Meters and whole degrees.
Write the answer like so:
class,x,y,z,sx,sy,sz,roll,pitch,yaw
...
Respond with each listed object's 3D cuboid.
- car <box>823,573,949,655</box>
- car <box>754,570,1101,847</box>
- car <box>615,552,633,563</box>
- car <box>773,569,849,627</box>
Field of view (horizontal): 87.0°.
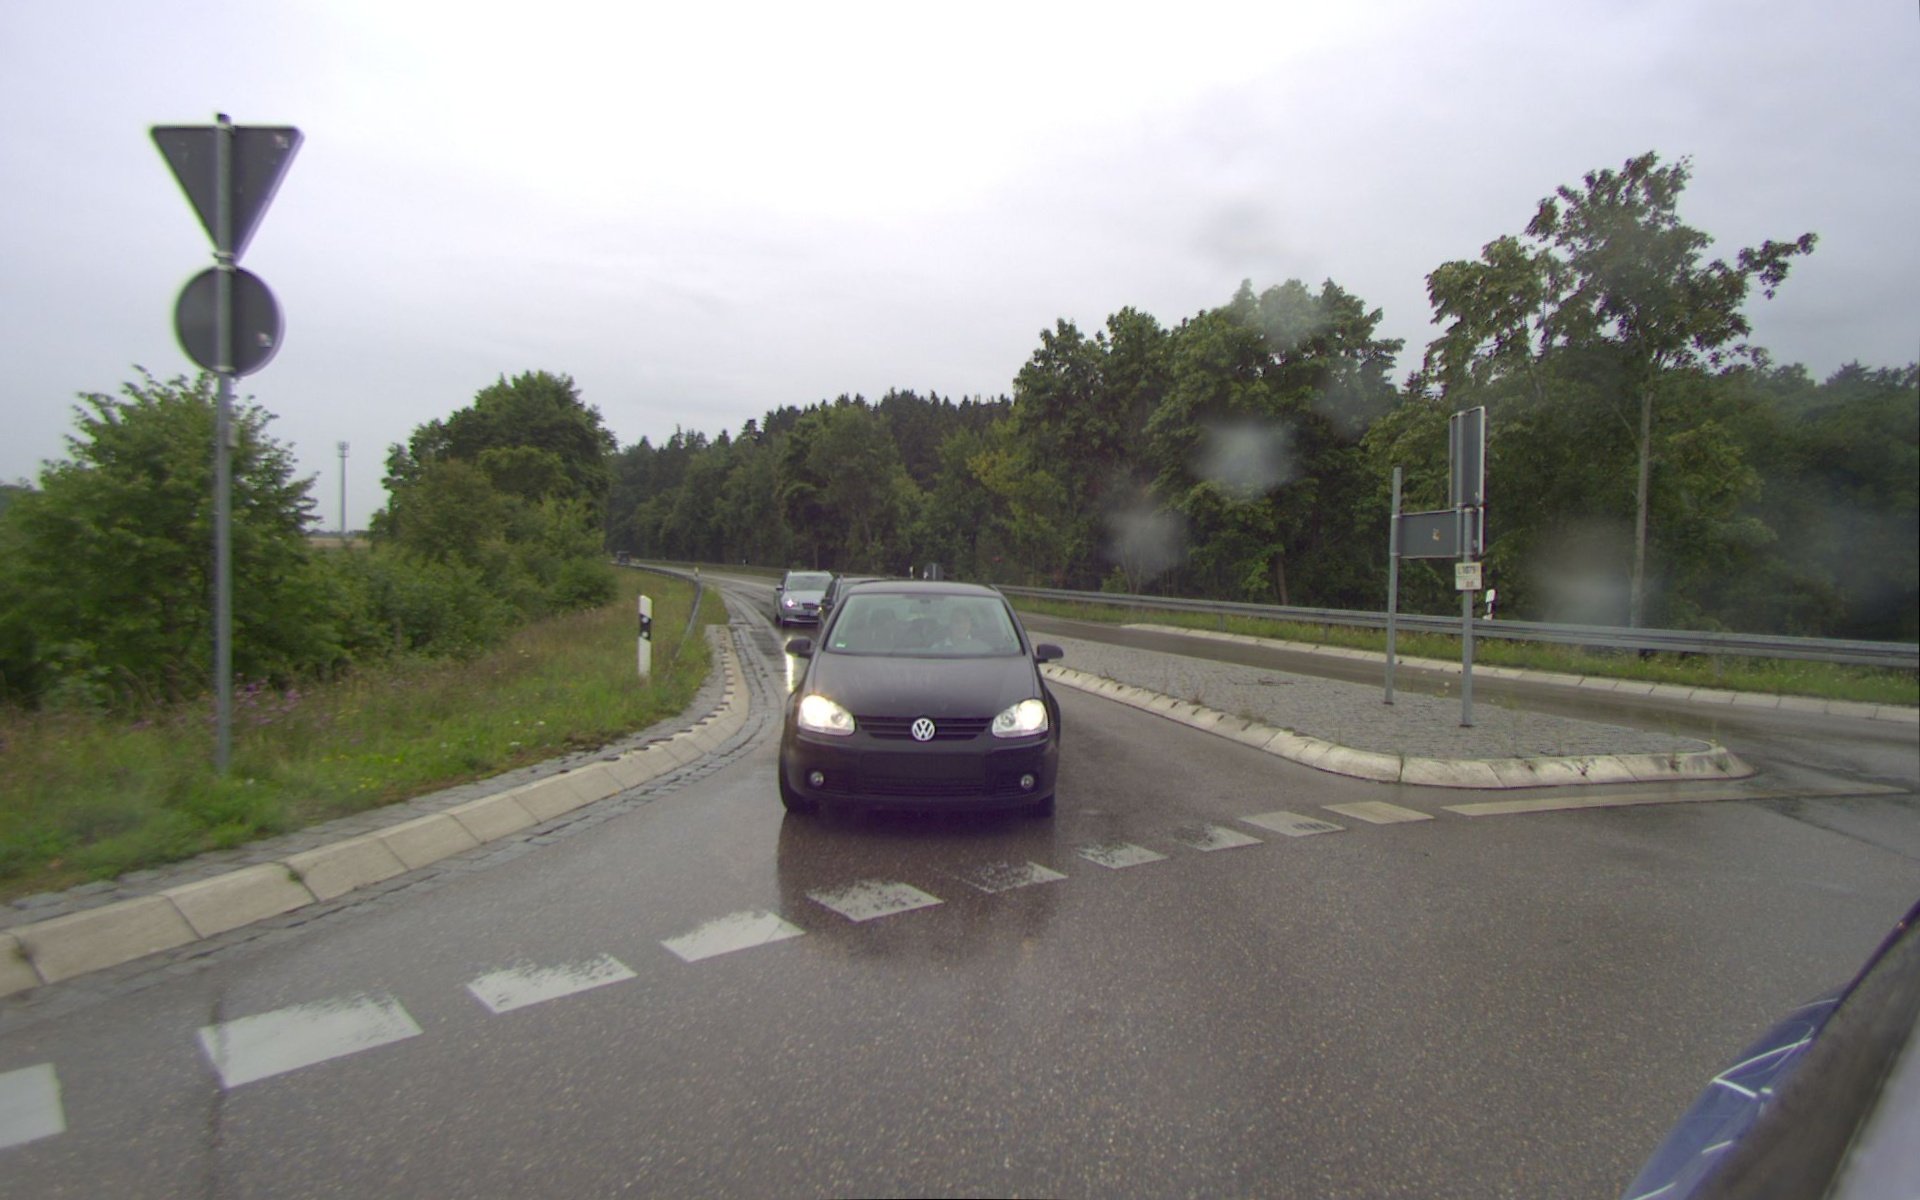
class,x,y,z,sx,sy,sz,roll,pitch,yaw
car,-1.563,0.208,19.694,1.909,1.388,4.512,1,1,-11
car,-0.157,0.556,7.720,1.839,1.439,4.503,2,1,1
car,-51.951,-6.568,156.365,1.959,1.594,4.009,0,4,-27
car,-4.220,-0.084,28.219,1.727,1.439,4.513,1,1,-13
